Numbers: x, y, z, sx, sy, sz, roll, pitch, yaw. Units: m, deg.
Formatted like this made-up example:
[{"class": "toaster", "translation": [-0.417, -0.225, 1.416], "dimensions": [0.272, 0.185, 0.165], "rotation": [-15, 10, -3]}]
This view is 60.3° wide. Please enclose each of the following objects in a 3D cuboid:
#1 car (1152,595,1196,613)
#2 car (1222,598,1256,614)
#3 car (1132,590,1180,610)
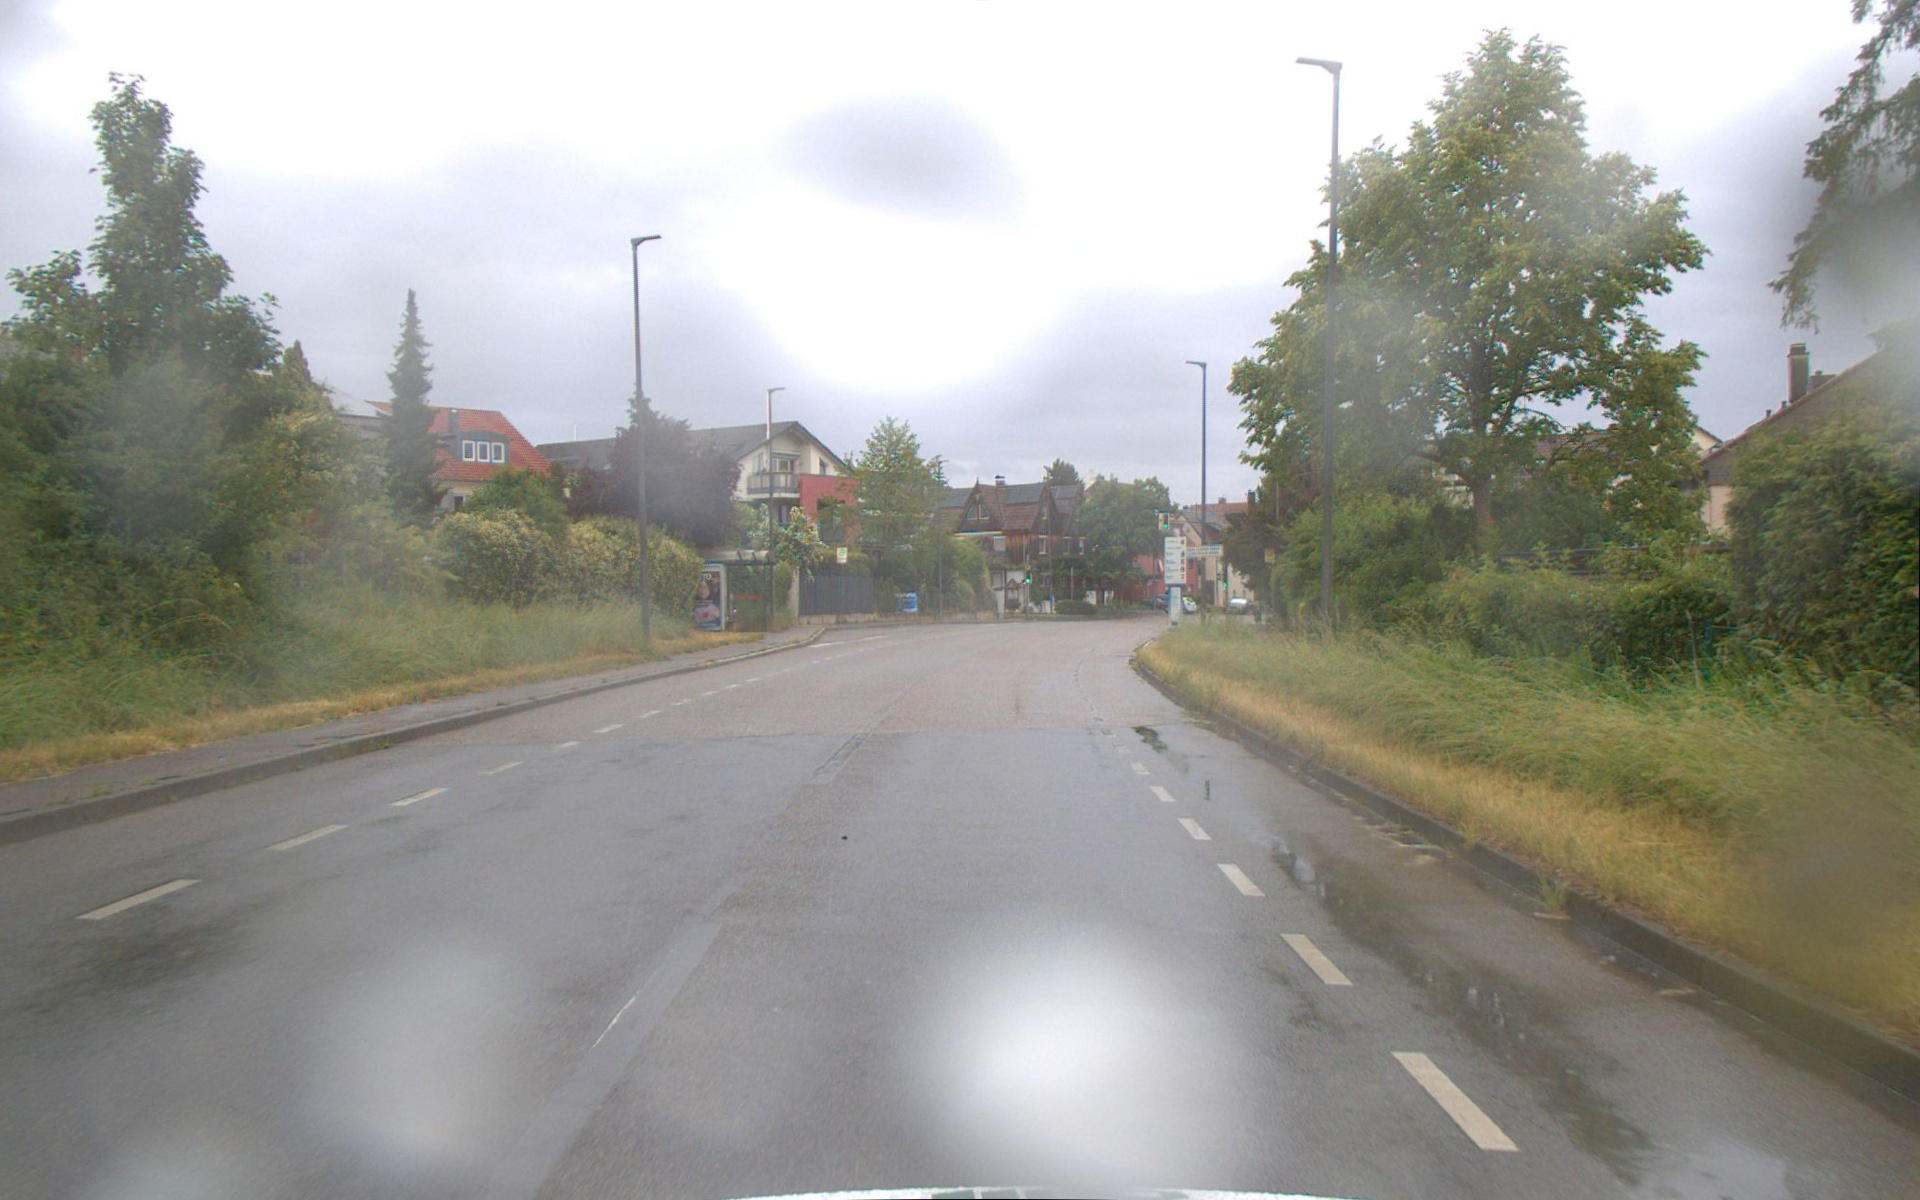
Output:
[{"class": "car", "translation": [18.406, 0.378, 142.377], "dimensions": [3.399, 1.505, 1.586], "rotation": [-1, -1, 33]}, {"class": "car", "translation": [24.331, 0.501, 144.313], "dimensions": [1.596, 1.379, 4.103], "rotation": [2, 1, 29]}, {"class": "car", "translation": [16.206, -0.013, 136.974], "dimensions": [3.515, 1.532, 1.849], "rotation": [3, 1, 35]}]
